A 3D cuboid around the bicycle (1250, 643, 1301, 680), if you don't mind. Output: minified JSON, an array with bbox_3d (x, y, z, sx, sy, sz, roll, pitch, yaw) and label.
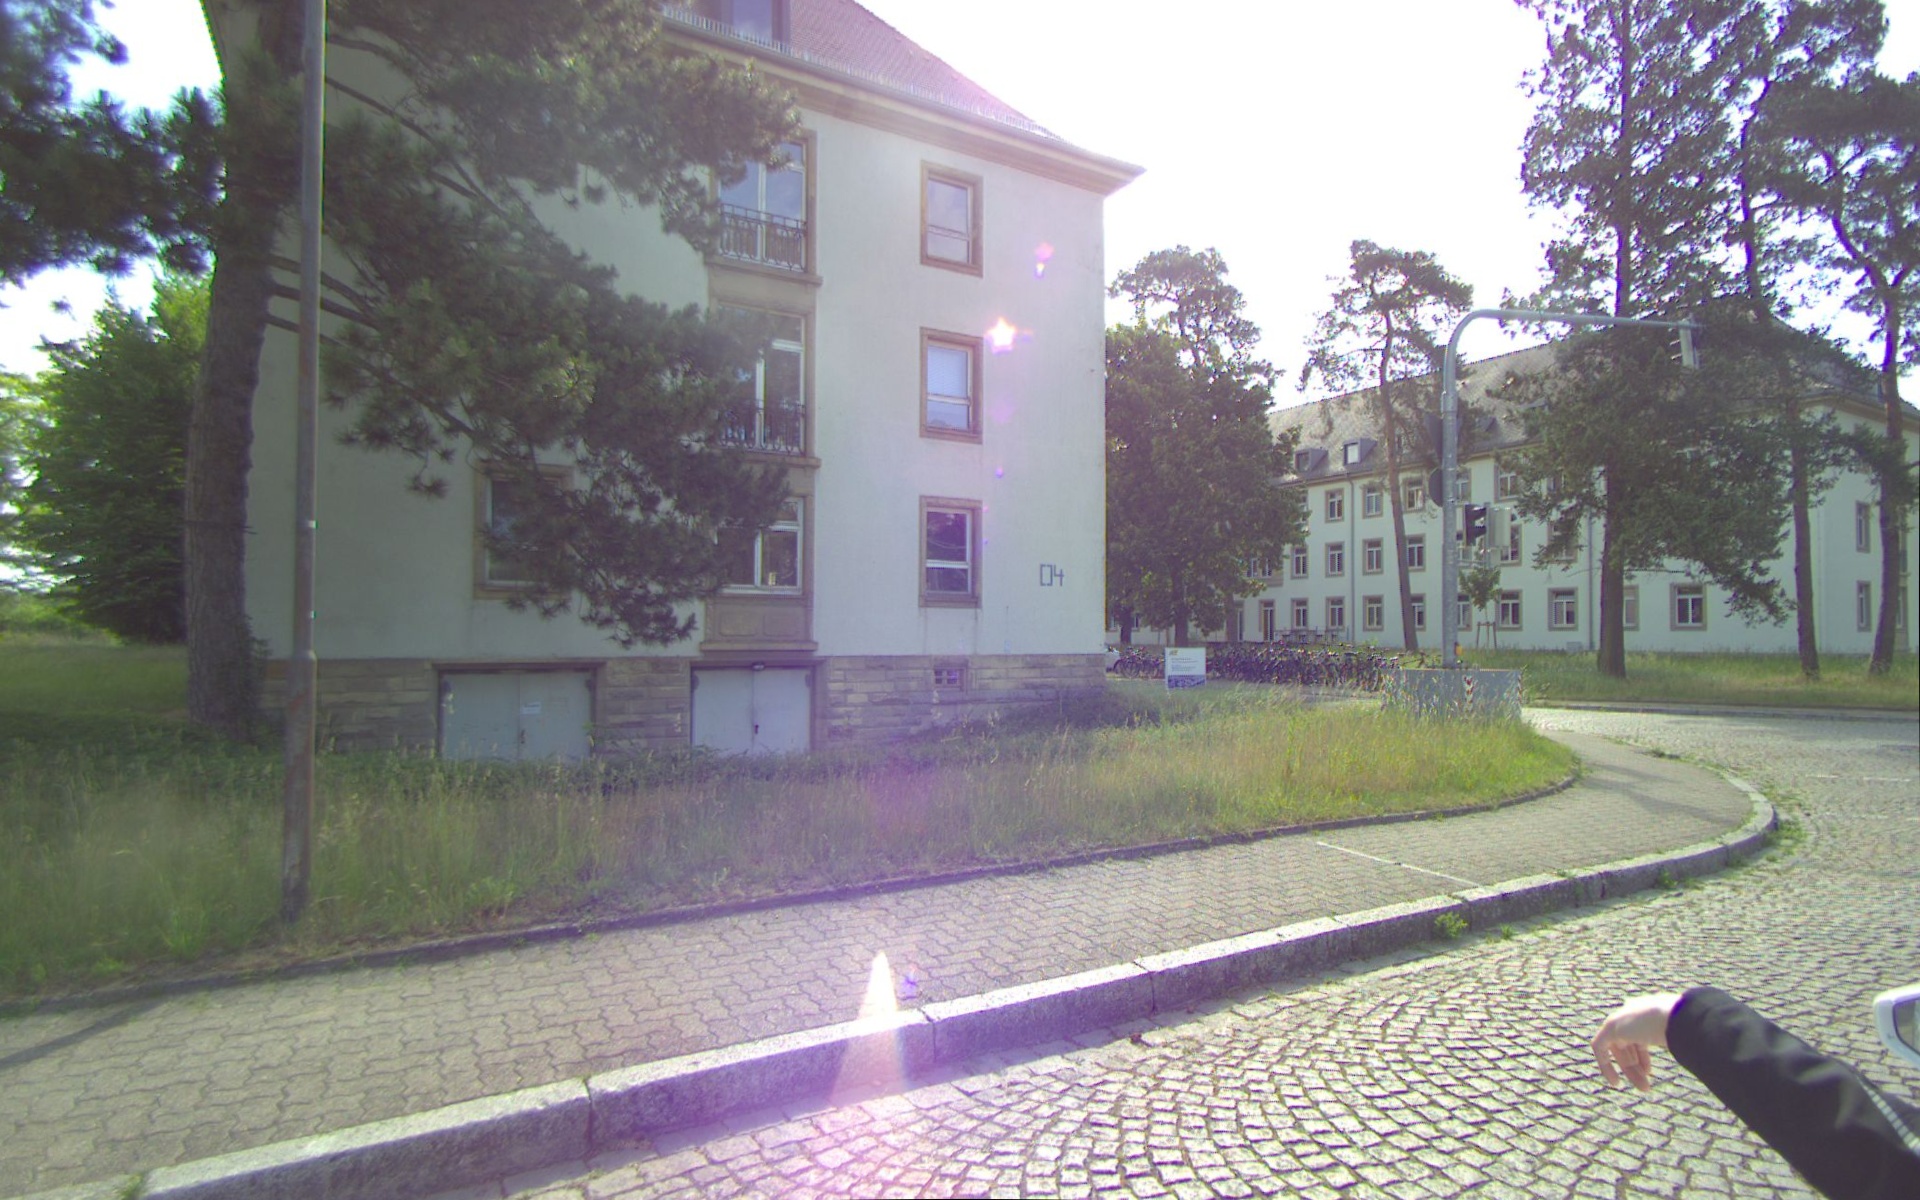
[{"bbox_3d":[10.636,2.065,33.865,1.915,1.236,0.511,1,-2,-31],"label":"bicycle"}]

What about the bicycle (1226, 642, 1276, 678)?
[{"bbox_3d":[10.104,2.078,34.872,1.915,1.236,0.511,1,-2,-31],"label":"bicycle"}]

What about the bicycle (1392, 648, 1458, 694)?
[{"bbox_3d":[13.137,1.994,28.349,2.090,1.236,0.630,1,-2,-31],"label":"bicycle"}]

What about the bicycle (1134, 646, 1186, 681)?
[{"bbox_3d":[7.258,2.282,36.521,1.794,1.236,0.515,-1,-2,24],"label":"bicycle"}]

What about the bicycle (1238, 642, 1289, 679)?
[{"bbox_3d":[10.383,2.071,34.349,1.915,1.236,0.511,1,-2,-31],"label":"bicycle"}]

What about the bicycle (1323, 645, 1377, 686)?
[{"bbox_3d":[12.304,2.050,31.655,1.878,1.236,0.545,1,-2,-31],"label":"bicycle"}]

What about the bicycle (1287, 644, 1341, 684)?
[{"bbox_3d":[11.455,2.055,32.495,1.954,1.236,0.511,1,-2,-31],"label":"bicycle"}]

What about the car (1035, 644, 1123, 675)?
[{"bbox_3d":[5.064,2.505,42.725,3.550,1.227,1.504,1,-2,-29],"label":"car"}]

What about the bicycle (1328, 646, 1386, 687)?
[{"bbox_3d":[12.232,2.037,30.943,2.006,1.236,0.576,1,-2,-31],"label":"bicycle"}]

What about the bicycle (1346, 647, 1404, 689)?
[{"bbox_3d":[12.494,2.024,30.229,1.967,1.236,0.569,1,-2,-31],"label":"bicycle"}]

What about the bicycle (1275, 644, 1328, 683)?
[{"bbox_3d":[11.192,2.057,32.941,1.954,1.236,0.511,1,-2,-31],"label":"bicycle"}]

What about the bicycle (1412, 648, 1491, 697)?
[{"bbox_3d":[13.121,1.920,26.871,0.627,1.236,1.853,1,-2,-30],"label":"bicycle"}]

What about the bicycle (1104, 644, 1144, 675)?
[{"bbox_3d":[6.543,2.369,40.135,1.813,1.236,0.510,2,-2,-39],"label":"bicycle"}]

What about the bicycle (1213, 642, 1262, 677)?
[{"bbox_3d":[9.790,2.084,35.395,1.915,1.236,0.511,1,-2,-31],"label":"bicycle"}]

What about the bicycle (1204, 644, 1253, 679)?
[{"bbox_3d":[9.562,2.182,35.795,1.915,1.236,0.511,1,-2,-31],"label":"bicycle"}]

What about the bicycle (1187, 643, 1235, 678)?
[{"bbox_3d":[9.131,2.191,36.559,1.915,1.236,0.511,1,-2,-31],"label":"bicycle"}]

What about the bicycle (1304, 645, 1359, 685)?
[{"bbox_3d":[11.816,2.050,31.958,1.992,1.236,0.511,1,-2,-31],"label":"bicycle"}]

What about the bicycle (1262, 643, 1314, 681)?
[{"bbox_3d":[10.903,2.059,33.379,1.932,1.236,0.511,1,-2,-31],"label":"bicycle"}]

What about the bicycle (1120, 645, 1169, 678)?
[{"bbox_3d":[6.983,2.344,38.119,1.792,1.236,0.516,0,-2,7],"label":"bicycle"}]

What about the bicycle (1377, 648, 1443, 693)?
[{"bbox_3d":[12.889,2.000,28.763,2.100,1.236,0.630,1,-2,-31],"label":"bicycle"}]

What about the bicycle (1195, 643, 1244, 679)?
[{"bbox_3d":[9.348,2.186,36.167,1.915,1.236,0.511,1,-2,-31],"label":"bicycle"}]

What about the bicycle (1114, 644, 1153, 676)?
[{"bbox_3d":[6.859,2.363,39.619,1.815,1.236,0.509,2,-3,-41],"label":"bicycle"}]

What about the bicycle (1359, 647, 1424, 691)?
[{"bbox_3d":[12.594,2.007,29.290,2.080,1.236,0.630,1,-2,-31],"label":"bicycle"}]

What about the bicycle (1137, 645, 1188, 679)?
[{"bbox_3d":[7.489,2.291,37.127,1.794,1.236,0.515,-1,-2,24],"label":"bicycle"}]
